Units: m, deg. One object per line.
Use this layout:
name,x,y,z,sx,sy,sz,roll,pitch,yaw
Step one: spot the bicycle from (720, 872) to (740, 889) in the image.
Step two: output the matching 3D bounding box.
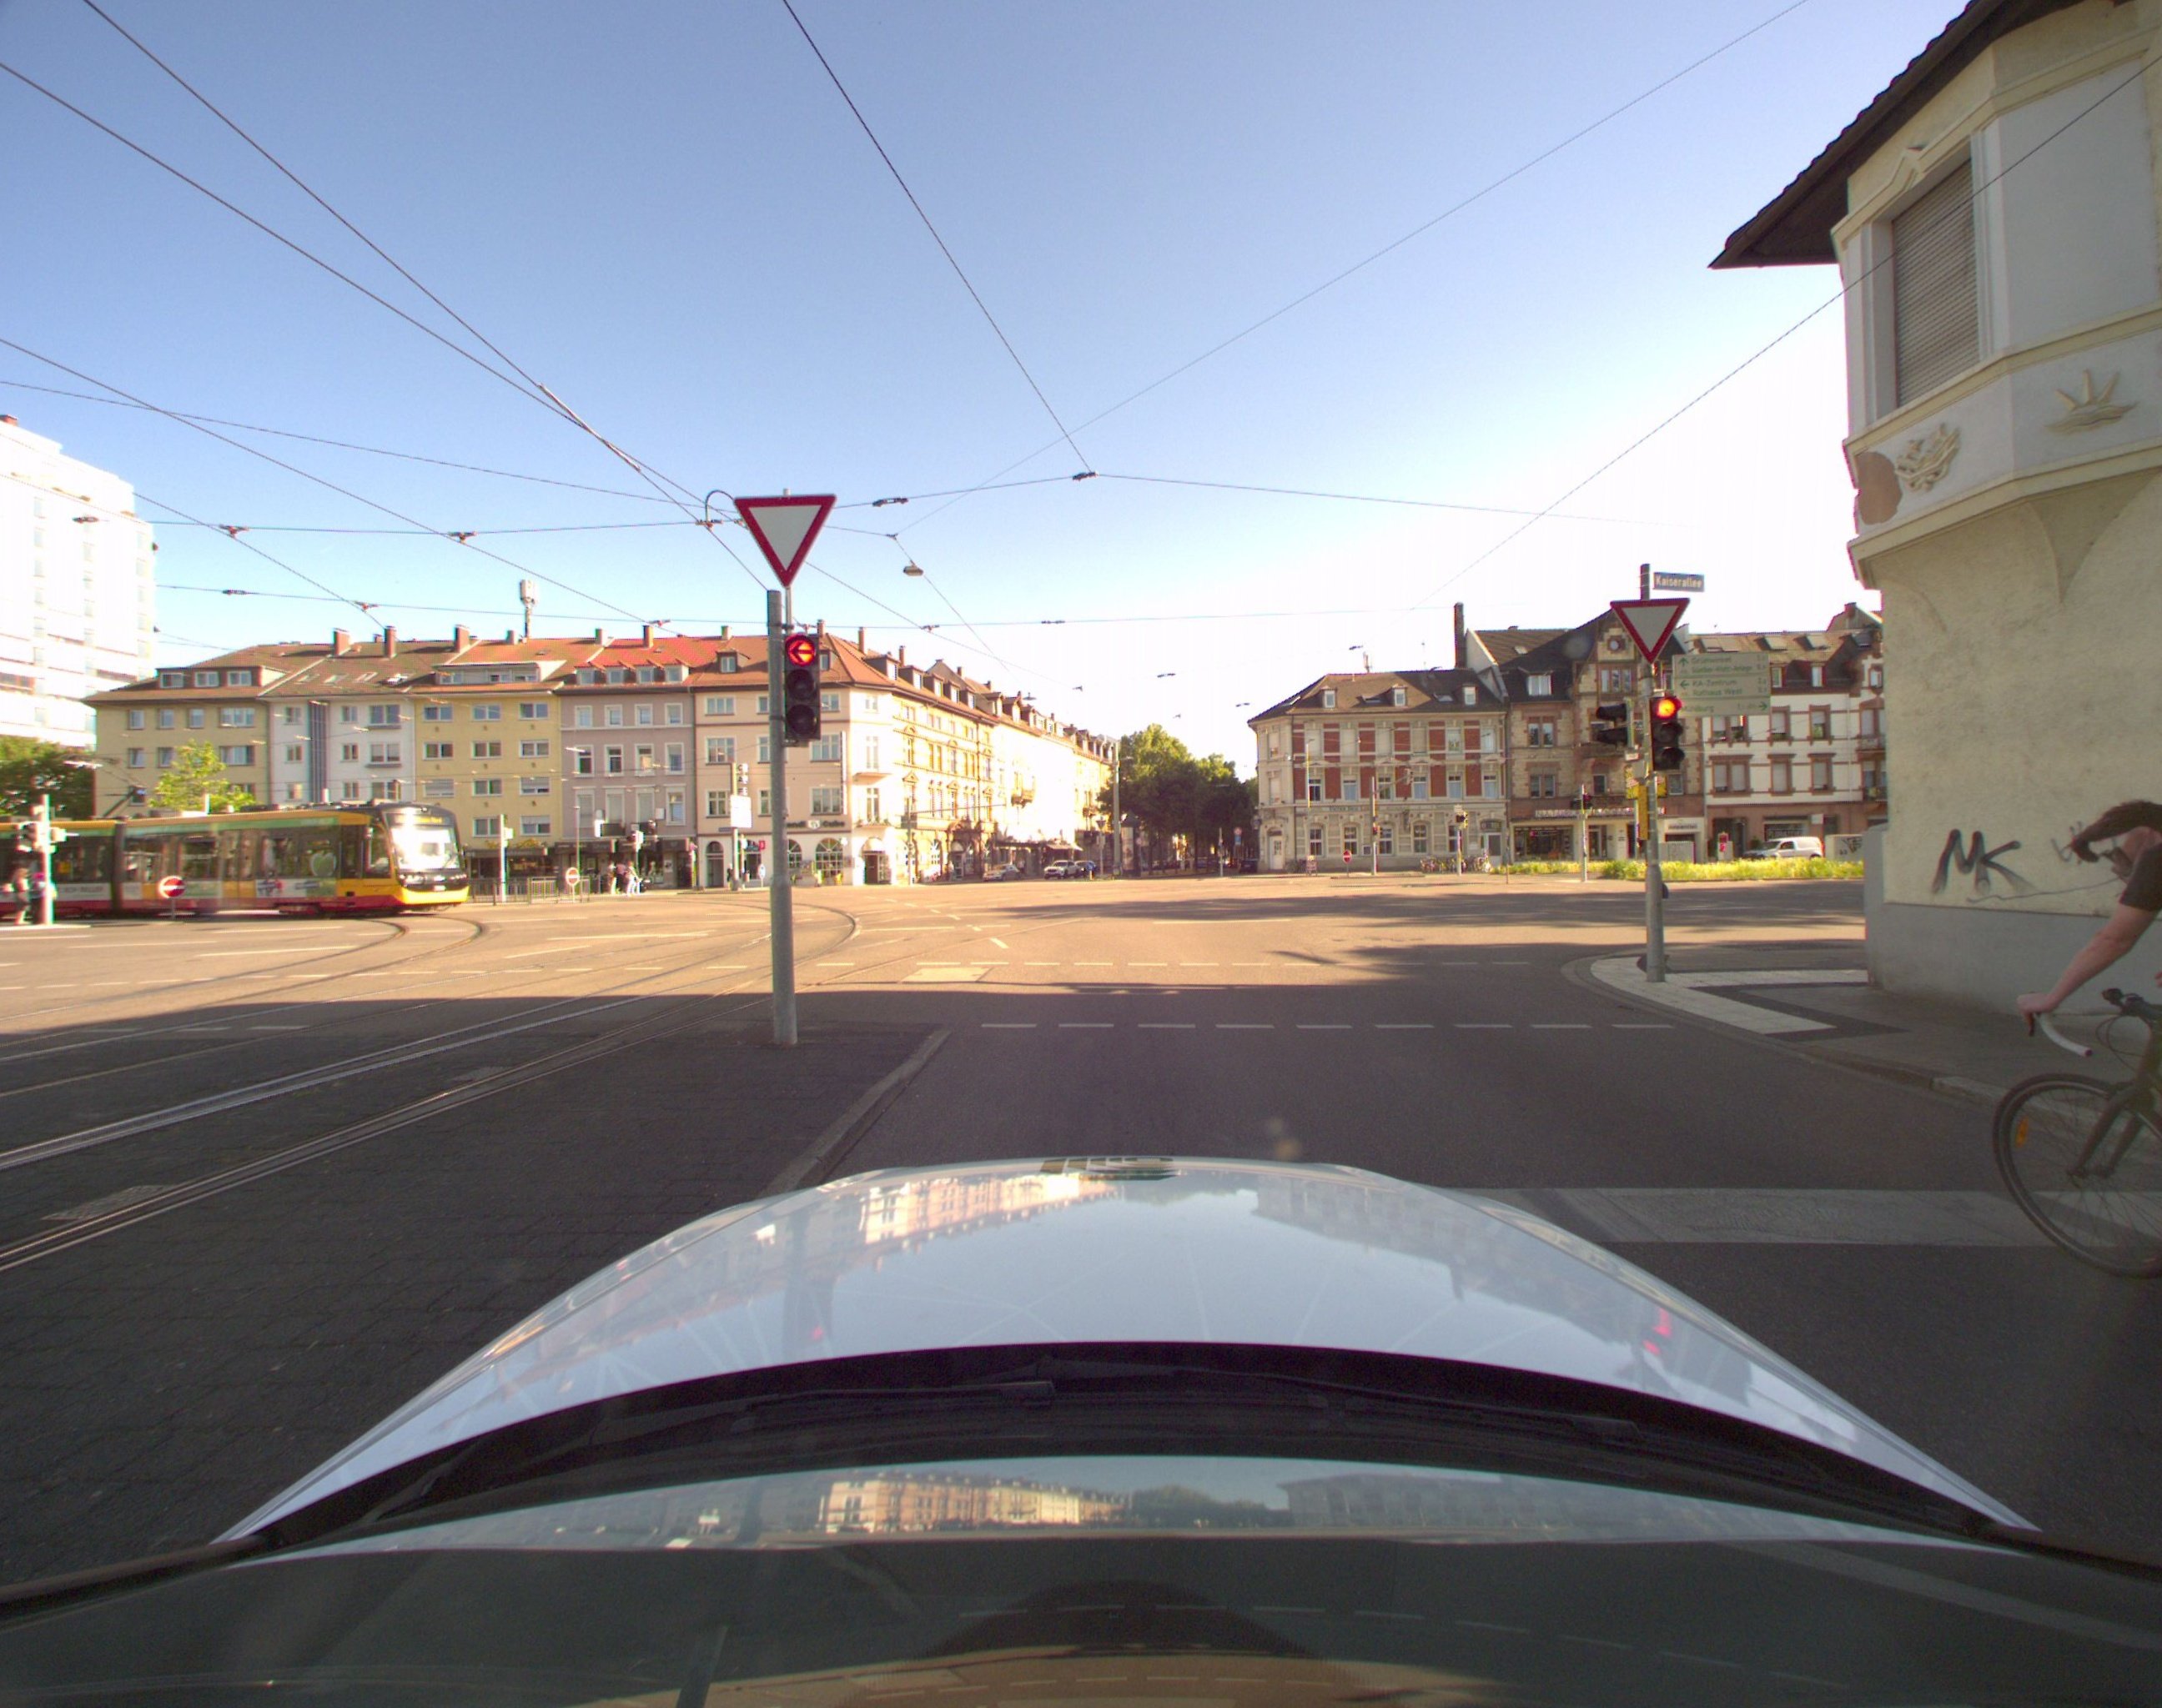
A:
bicycle,-22.793,1.699,52.924,0.570,1.077,1.497,0,-1,2

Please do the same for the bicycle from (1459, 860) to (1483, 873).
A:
bicycle,25.213,0.801,52.699,0.656,0.840,2.162,0,-1,3

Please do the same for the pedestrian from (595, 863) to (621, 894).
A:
pedestrian,-24.711,1.287,42.551,0.842,1.577,0.836,-1,-1,11

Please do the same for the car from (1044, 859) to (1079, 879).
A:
car,-1.595,1.212,67.508,1.664,1.483,3.789,-2,0,19

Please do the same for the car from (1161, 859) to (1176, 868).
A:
car,14.046,1.500,130.606,1.664,1.354,3.608,-2,0,19

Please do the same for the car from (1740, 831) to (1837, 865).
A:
car,45.451,-0.385,52.398,4.406,2.013,2.002,-1,0,4

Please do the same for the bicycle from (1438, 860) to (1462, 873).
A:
bicycle,23.894,0.812,52.737,0.656,0.840,2.162,0,-1,3

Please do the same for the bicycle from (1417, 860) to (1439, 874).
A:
bicycle,22.434,0.822,52.694,0.656,0.840,2.162,0,-1,3

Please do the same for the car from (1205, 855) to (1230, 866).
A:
car,21.461,1.056,127.718,3.549,1.648,1.691,-2,0,19

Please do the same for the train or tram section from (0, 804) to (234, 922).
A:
train or tram section,-37.473,0.397,28.618,12.725,3.814,2.944,-1,0,3

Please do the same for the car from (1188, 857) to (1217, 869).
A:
car,17.216,1.254,115.452,3.870,1.648,1.691,-2,0,19

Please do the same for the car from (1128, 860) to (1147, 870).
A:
car,7.710,1.487,111.320,1.664,1.354,3.608,-2,0,19

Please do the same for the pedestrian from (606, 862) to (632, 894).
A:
pedestrian,-23.077,1.187,40.683,0.720,1.577,0.836,-1,-1,11

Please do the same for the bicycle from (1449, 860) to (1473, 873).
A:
bicycle,24.577,0.806,52.745,0.656,0.840,2.162,0,-1,3

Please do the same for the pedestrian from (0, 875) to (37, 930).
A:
pedestrian,-32.913,1.498,25.239,0.456,1.644,0.643,-1,1,38

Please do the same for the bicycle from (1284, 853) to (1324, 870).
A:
bicycle,15.612,0.497,57.056,2.547,1.174,0.818,0,-1,-1

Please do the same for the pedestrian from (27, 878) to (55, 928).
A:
pedestrian,-31.907,1.498,24.990,0.456,1.505,0.485,-1,1,38

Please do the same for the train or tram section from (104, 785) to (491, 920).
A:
train or tram section,-25.480,0.090,26.377,12.910,3.814,2.954,-1,0,16

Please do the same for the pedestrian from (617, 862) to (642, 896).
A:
pedestrian,-21.179,1.153,38.191,0.545,1.577,0.838,-1,-1,29

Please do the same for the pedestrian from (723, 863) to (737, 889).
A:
pedestrian,-22.794,1.405,52.929,0.580,1.670,0.753,0,-1,2

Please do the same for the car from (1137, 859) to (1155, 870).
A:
car,9.185,1.490,115.444,1.664,1.354,3.608,-2,0,19

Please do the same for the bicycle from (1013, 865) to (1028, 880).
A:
bicycle,-4.885,1.483,65.532,0.696,1.118,1.642,-1,-1,16

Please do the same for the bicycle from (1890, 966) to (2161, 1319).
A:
bicycle,3.606,0.956,2.507,0.516,0.970,1.750,-1,0,2

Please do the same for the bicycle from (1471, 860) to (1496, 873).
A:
bicycle,26.017,0.795,52.714,0.656,0.840,2.162,0,-1,3

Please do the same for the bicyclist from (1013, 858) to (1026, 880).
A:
bicyclist,-4.931,1.207,65.413,0.772,1.803,1.060,-1,-1,16

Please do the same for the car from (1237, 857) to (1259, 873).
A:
car,16.914,1.094,82.331,1.664,1.483,3.967,-2,0,19

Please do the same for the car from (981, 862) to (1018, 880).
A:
car,-6.700,1.423,67.224,1.664,1.354,3.608,-2,0,19

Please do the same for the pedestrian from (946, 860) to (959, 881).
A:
pedestrian,-10.449,1.323,66.324,0.770,1.670,0.834,-1,-1,17

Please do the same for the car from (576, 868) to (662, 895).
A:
car,-30.356,1.789,53.636,4.347,1.711,2.308,0,-1,4

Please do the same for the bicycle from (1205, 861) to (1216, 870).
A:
bicycle,15.780,1.389,99.277,0.636,1.021,1.839,0,-1,-12

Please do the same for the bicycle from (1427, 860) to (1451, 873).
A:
bicycle,23.170,0.817,52.752,0.656,0.840,2.162,0,-1,3

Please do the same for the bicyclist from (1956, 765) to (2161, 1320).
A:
bicyclist,3.582,0.574,2.498,0.570,1.701,1.117,-1,0,2

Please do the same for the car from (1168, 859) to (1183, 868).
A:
car,15.733,1.518,135.599,1.664,1.354,3.608,-2,0,19

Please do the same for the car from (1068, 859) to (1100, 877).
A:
car,0.317,1.239,73.767,1.664,1.483,3.967,-2,0,19

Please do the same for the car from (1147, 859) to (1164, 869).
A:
car,11.255,1.516,122.361,1.664,1.354,3.608,-2,0,19

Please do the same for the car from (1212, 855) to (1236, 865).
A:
car,23.367,0.963,133.151,3.549,1.648,1.691,-2,0,19
